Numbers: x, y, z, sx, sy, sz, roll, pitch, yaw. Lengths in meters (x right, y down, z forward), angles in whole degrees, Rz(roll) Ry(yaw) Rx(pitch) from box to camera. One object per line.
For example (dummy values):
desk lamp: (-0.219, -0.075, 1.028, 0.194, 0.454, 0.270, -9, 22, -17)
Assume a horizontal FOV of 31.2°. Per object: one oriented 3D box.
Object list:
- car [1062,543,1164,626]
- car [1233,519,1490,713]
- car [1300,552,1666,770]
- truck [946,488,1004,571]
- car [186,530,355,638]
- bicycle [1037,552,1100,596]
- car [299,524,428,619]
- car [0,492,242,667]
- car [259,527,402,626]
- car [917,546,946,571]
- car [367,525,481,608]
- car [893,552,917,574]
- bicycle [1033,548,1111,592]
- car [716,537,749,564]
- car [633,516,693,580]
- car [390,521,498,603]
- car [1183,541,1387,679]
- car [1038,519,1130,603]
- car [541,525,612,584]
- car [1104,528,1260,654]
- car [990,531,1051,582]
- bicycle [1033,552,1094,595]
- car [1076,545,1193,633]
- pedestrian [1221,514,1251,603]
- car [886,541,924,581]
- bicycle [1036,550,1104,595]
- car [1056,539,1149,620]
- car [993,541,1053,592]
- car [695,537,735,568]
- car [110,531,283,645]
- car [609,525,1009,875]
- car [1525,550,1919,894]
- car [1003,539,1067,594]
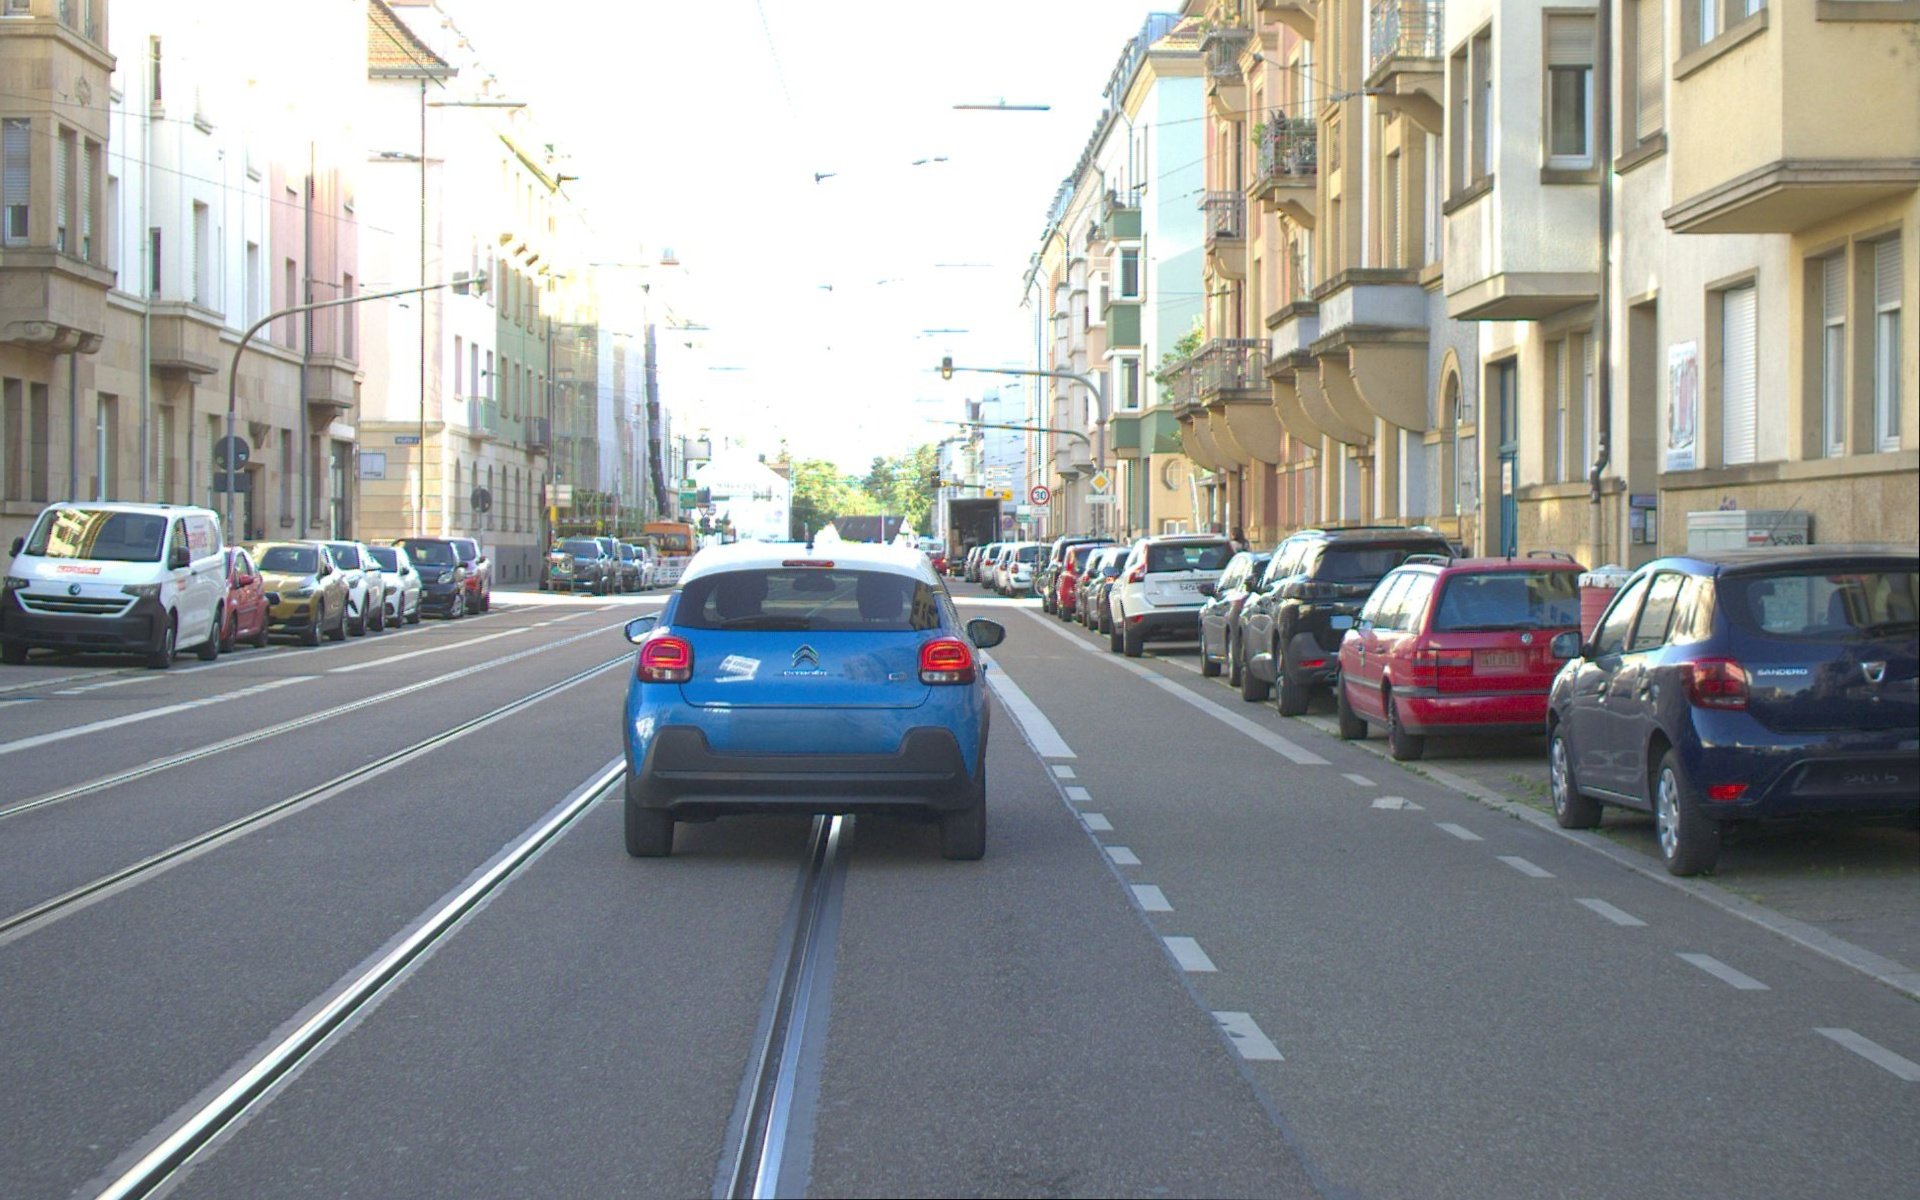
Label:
car: (2.879, -0.322, 65.286, 1.654, 1.508, 4.474, 0, 1, -1)
car: (3.629, 0.098, 31.812, 1.859, 1.660, 4.562, 0, 1, 0)
car: (3.781, 0.382, 25.666, 1.859, 1.450, 4.710, 0, 1, -2)
truck: (0.744, -3.537, 174.466, 2.853, 4.069, 11.271, 0, 1, 0)
car: (-10.414, -0.274, 52.199, 1.783, 1.518, 4.360, 2, 1, -2)
bicycle: (3.090, -0.740, 97.679, 1.722, 1.150, 0.469, -3, 1, 0)
car: (-10.911, -0.547, 63.083, 1.783, 1.616, 4.180, 2, 1, -3)
car: (-10.314, -0.287, 42.297, 1.973, 1.942, 5.252, 2, 1, -2)
car: (-10.541, -0.425, 57.810, 1.771, 1.541, 4.366, 2, 1, -3)
car: (-1.716, -2.526, 207.623, 1.765, 1.481, 4.032, 0, 1, -1)
car: (-10.652, -0.681, 68.459, 1.783, 1.547, 3.019, 2, 1, -1)
car: (-4.175, -2.789, 260.230, 1.826, 1.626, 4.491, 0, 1, -1)
bicycle: (3.121, -0.839, 95.714, 2.086, 1.150, 0.848, -2, 1, 0)
car: (-13.553, -2.944, 204.911, 1.826, 1.626, 3.905, 0, 1, -1)
car: (-11.937, -2.088, 138.526, 2.144, 2.467, 4.981, 2, 1, -3)
car: (-10.902, -0.823, 72.824, 1.783, 1.601, 4.398, 2, 1, -3)
car: (3.546, 0.070, 38.136, 1.737, 1.437, 4.033, 0, 1, -2)
car: (2.730, -0.874, 76.541, 1.753, 1.730, 4.507, -3, 1, 0)
car: (-11.541, -1.386, 103.682, 1.783, 1.684, 4.668, 2, 1, -3)
car: (3.088, -0.164, 48.638, 1.843, 1.685, 4.505, 0, 1, -1)
car: (2.091, -1.543, 120.282, 1.654, 1.746, 4.604, 0, 1, -5)
bicycle: (3.022, -0.765, 100.429, 1.722, 1.150, 0.469, -3, 1, 0)
car: (3.025, -0.221, 60.241, 1.654, 1.478, 4.475, 0, 1, -2)
pedestrian: (5.229, -0.780, 65.216, 0.513, 1.681, 0.448, 0, 1, -1)
car: (-2.682, -1.925, 167.342, 1.821, 1.888, 4.000, 1, 1, -1)
bicycle: (3.092, -0.776, 96.440, 1.842, 1.150, 0.469, -3, 1, 0)
car: (2.873, -0.434, 69.856, 1.753, 1.589, 3.730, 0, 1, 0)
car: (1.983, -1.072, 109.159, 1.783, 1.570, 4.326, 0, 1, -1)
car: (-13.166, -2.555, 184.842, 1.826, 1.626, 4.849, 0, 1, -1)
car: (-10.568, -0.198, 47.799, 1.602, 1.467, 3.646, 2, 1, -1)
car: (-0.700, 0.411, 17.352, 1.735, 1.502, 3.993, 2, 1, -1)
car: (4.053, 0.511, 17.216, 1.718, 1.485, 4.002, -1, 1, -1)
car: (2.240, -1.034, 103.639, 1.783, 1.626, 4.000, 0, 1, -1)
